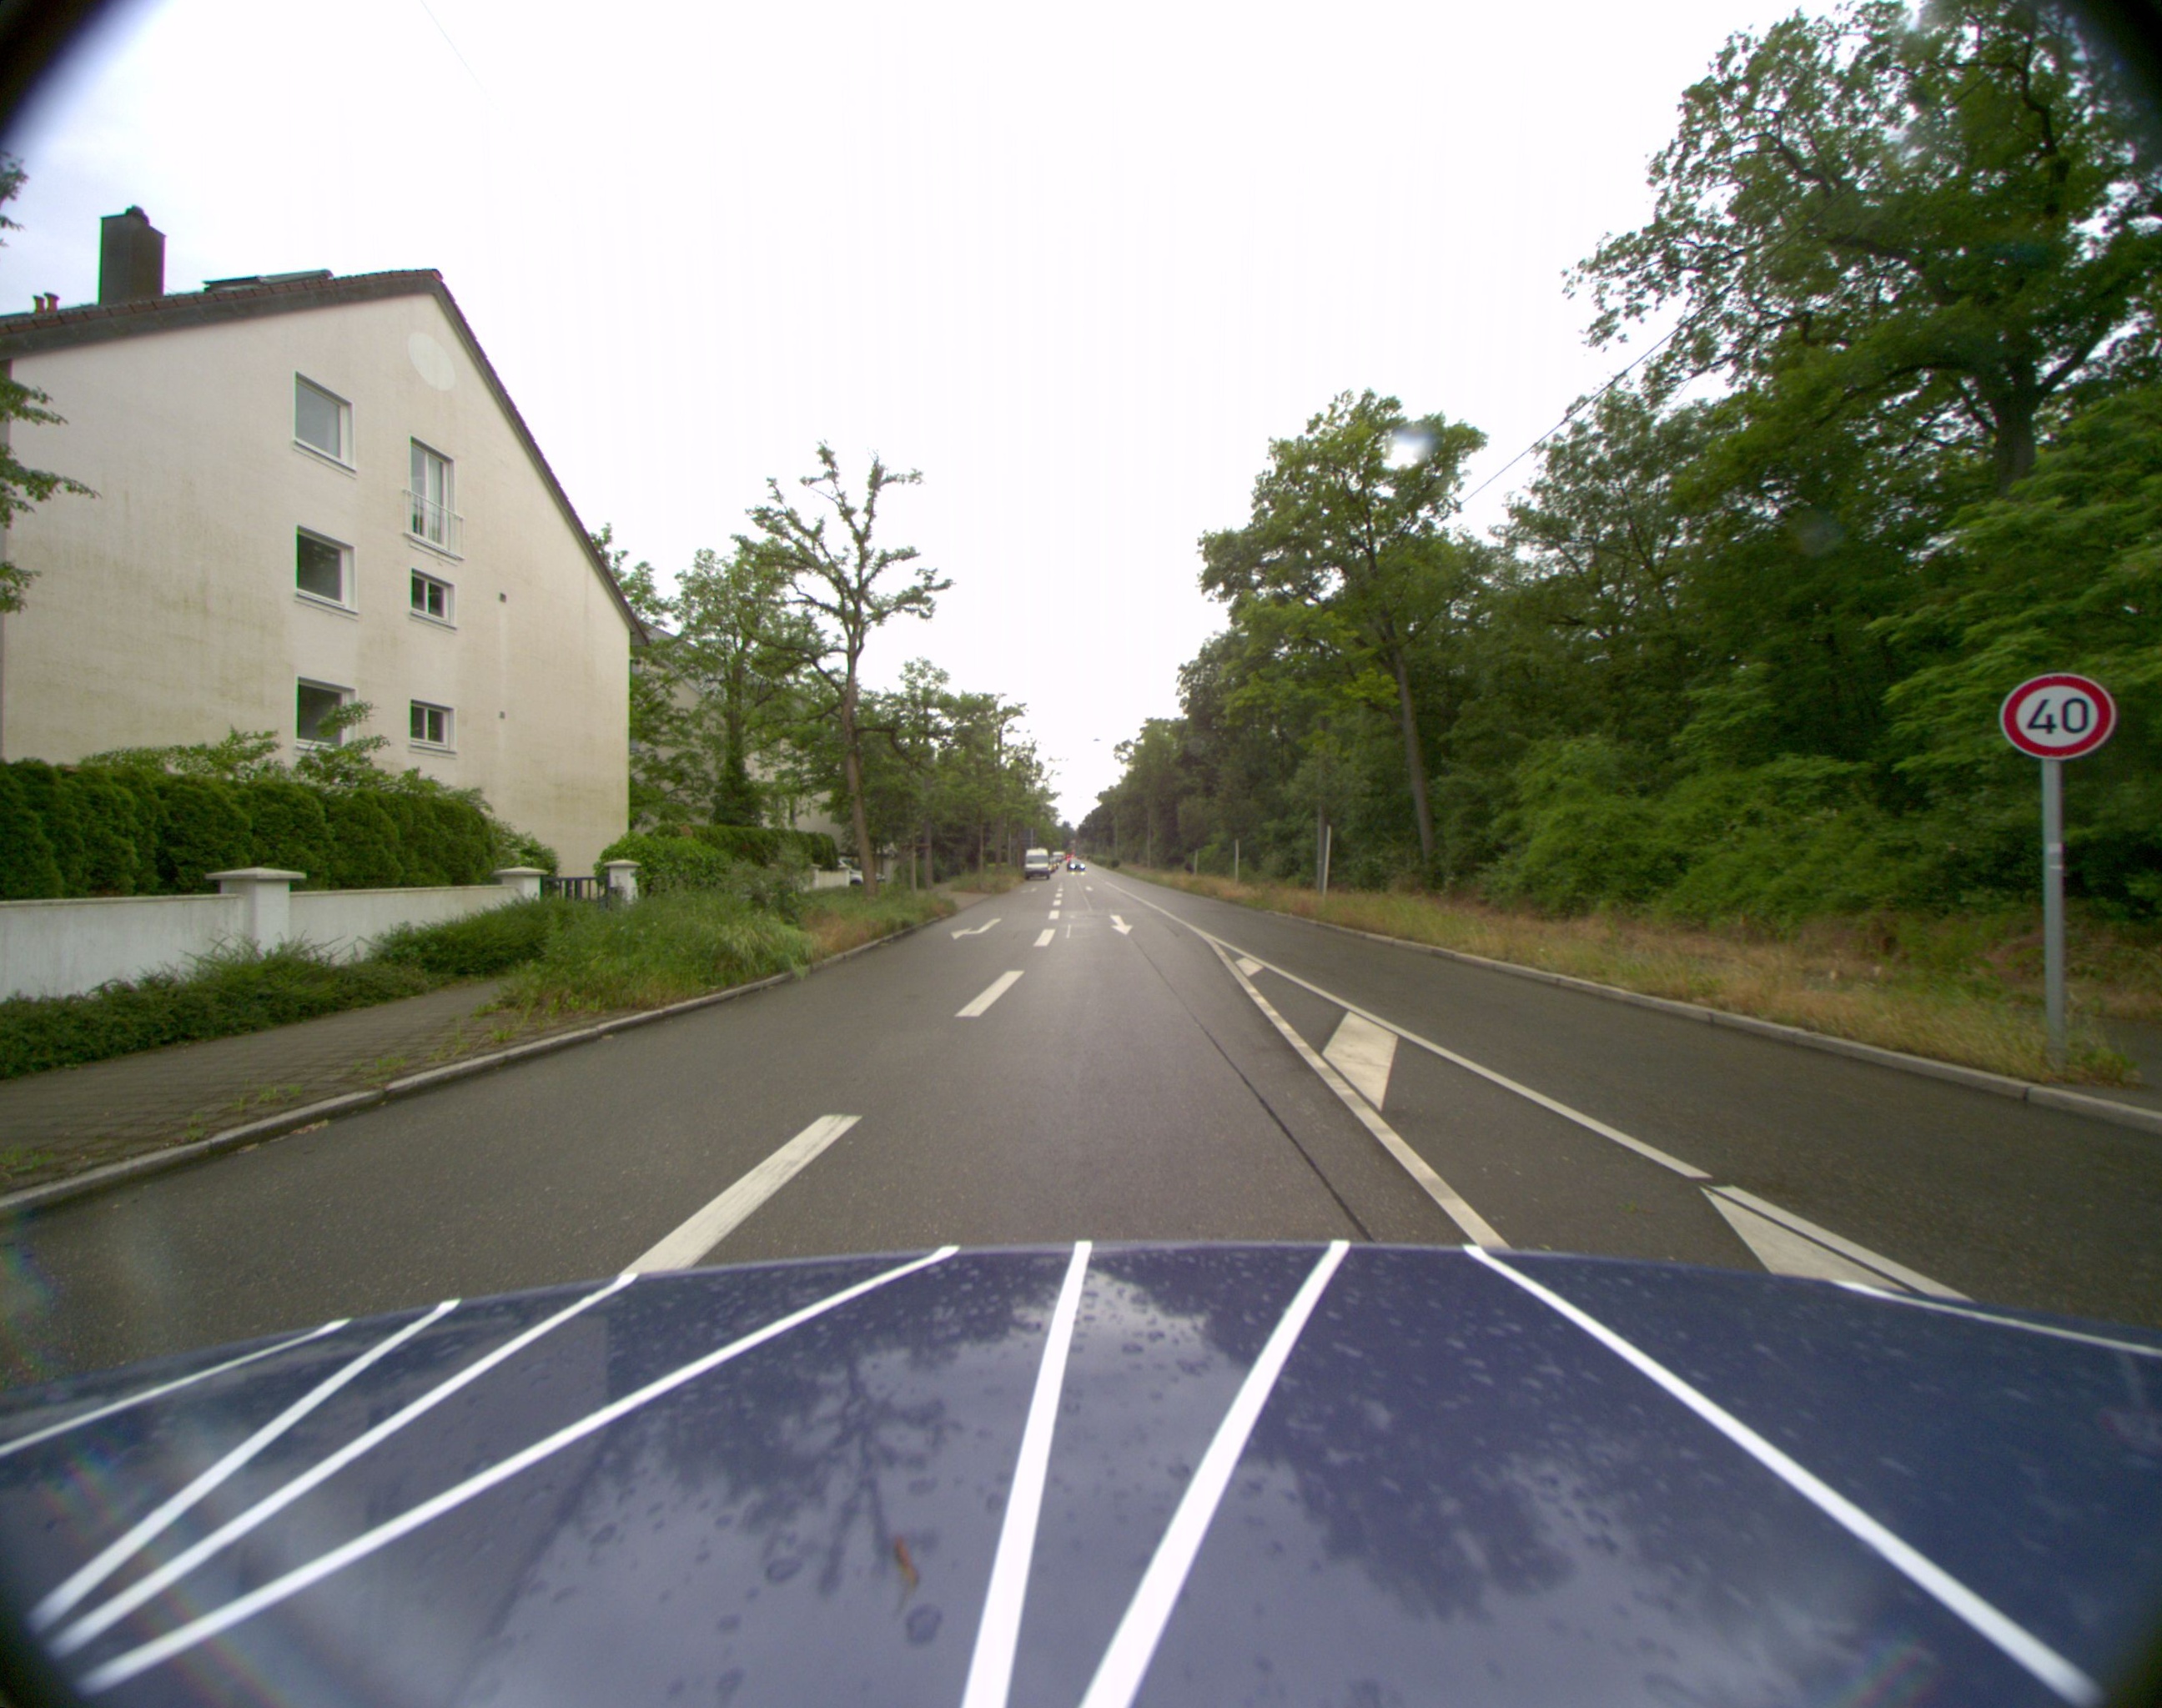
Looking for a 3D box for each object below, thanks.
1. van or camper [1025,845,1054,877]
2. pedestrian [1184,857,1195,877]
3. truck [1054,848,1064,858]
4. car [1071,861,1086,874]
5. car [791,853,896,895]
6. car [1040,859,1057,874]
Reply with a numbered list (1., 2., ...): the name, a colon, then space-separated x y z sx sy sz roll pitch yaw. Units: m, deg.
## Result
1. van or camper: -3.414 0.539 63.531 2.042 2.465 5.637 -3 0 -1
2. pedestrian: 8.643 1.051 60.598 0.783 1.598 0.732 0 1 -2
3. truck: -4.938 -0.233 173.666 2.230 2.321 5.112 1 0 -2
4. car: -0.283 1.628 92.138 1.622 1.459 4.409 -2 0 -2
5. car: -11.155 0.927 35.860 4.312 1.807 1.876 -1 0 10
6. car: -3.475 1.333 81.519 1.576 1.463 3.764 -2 0 -1
